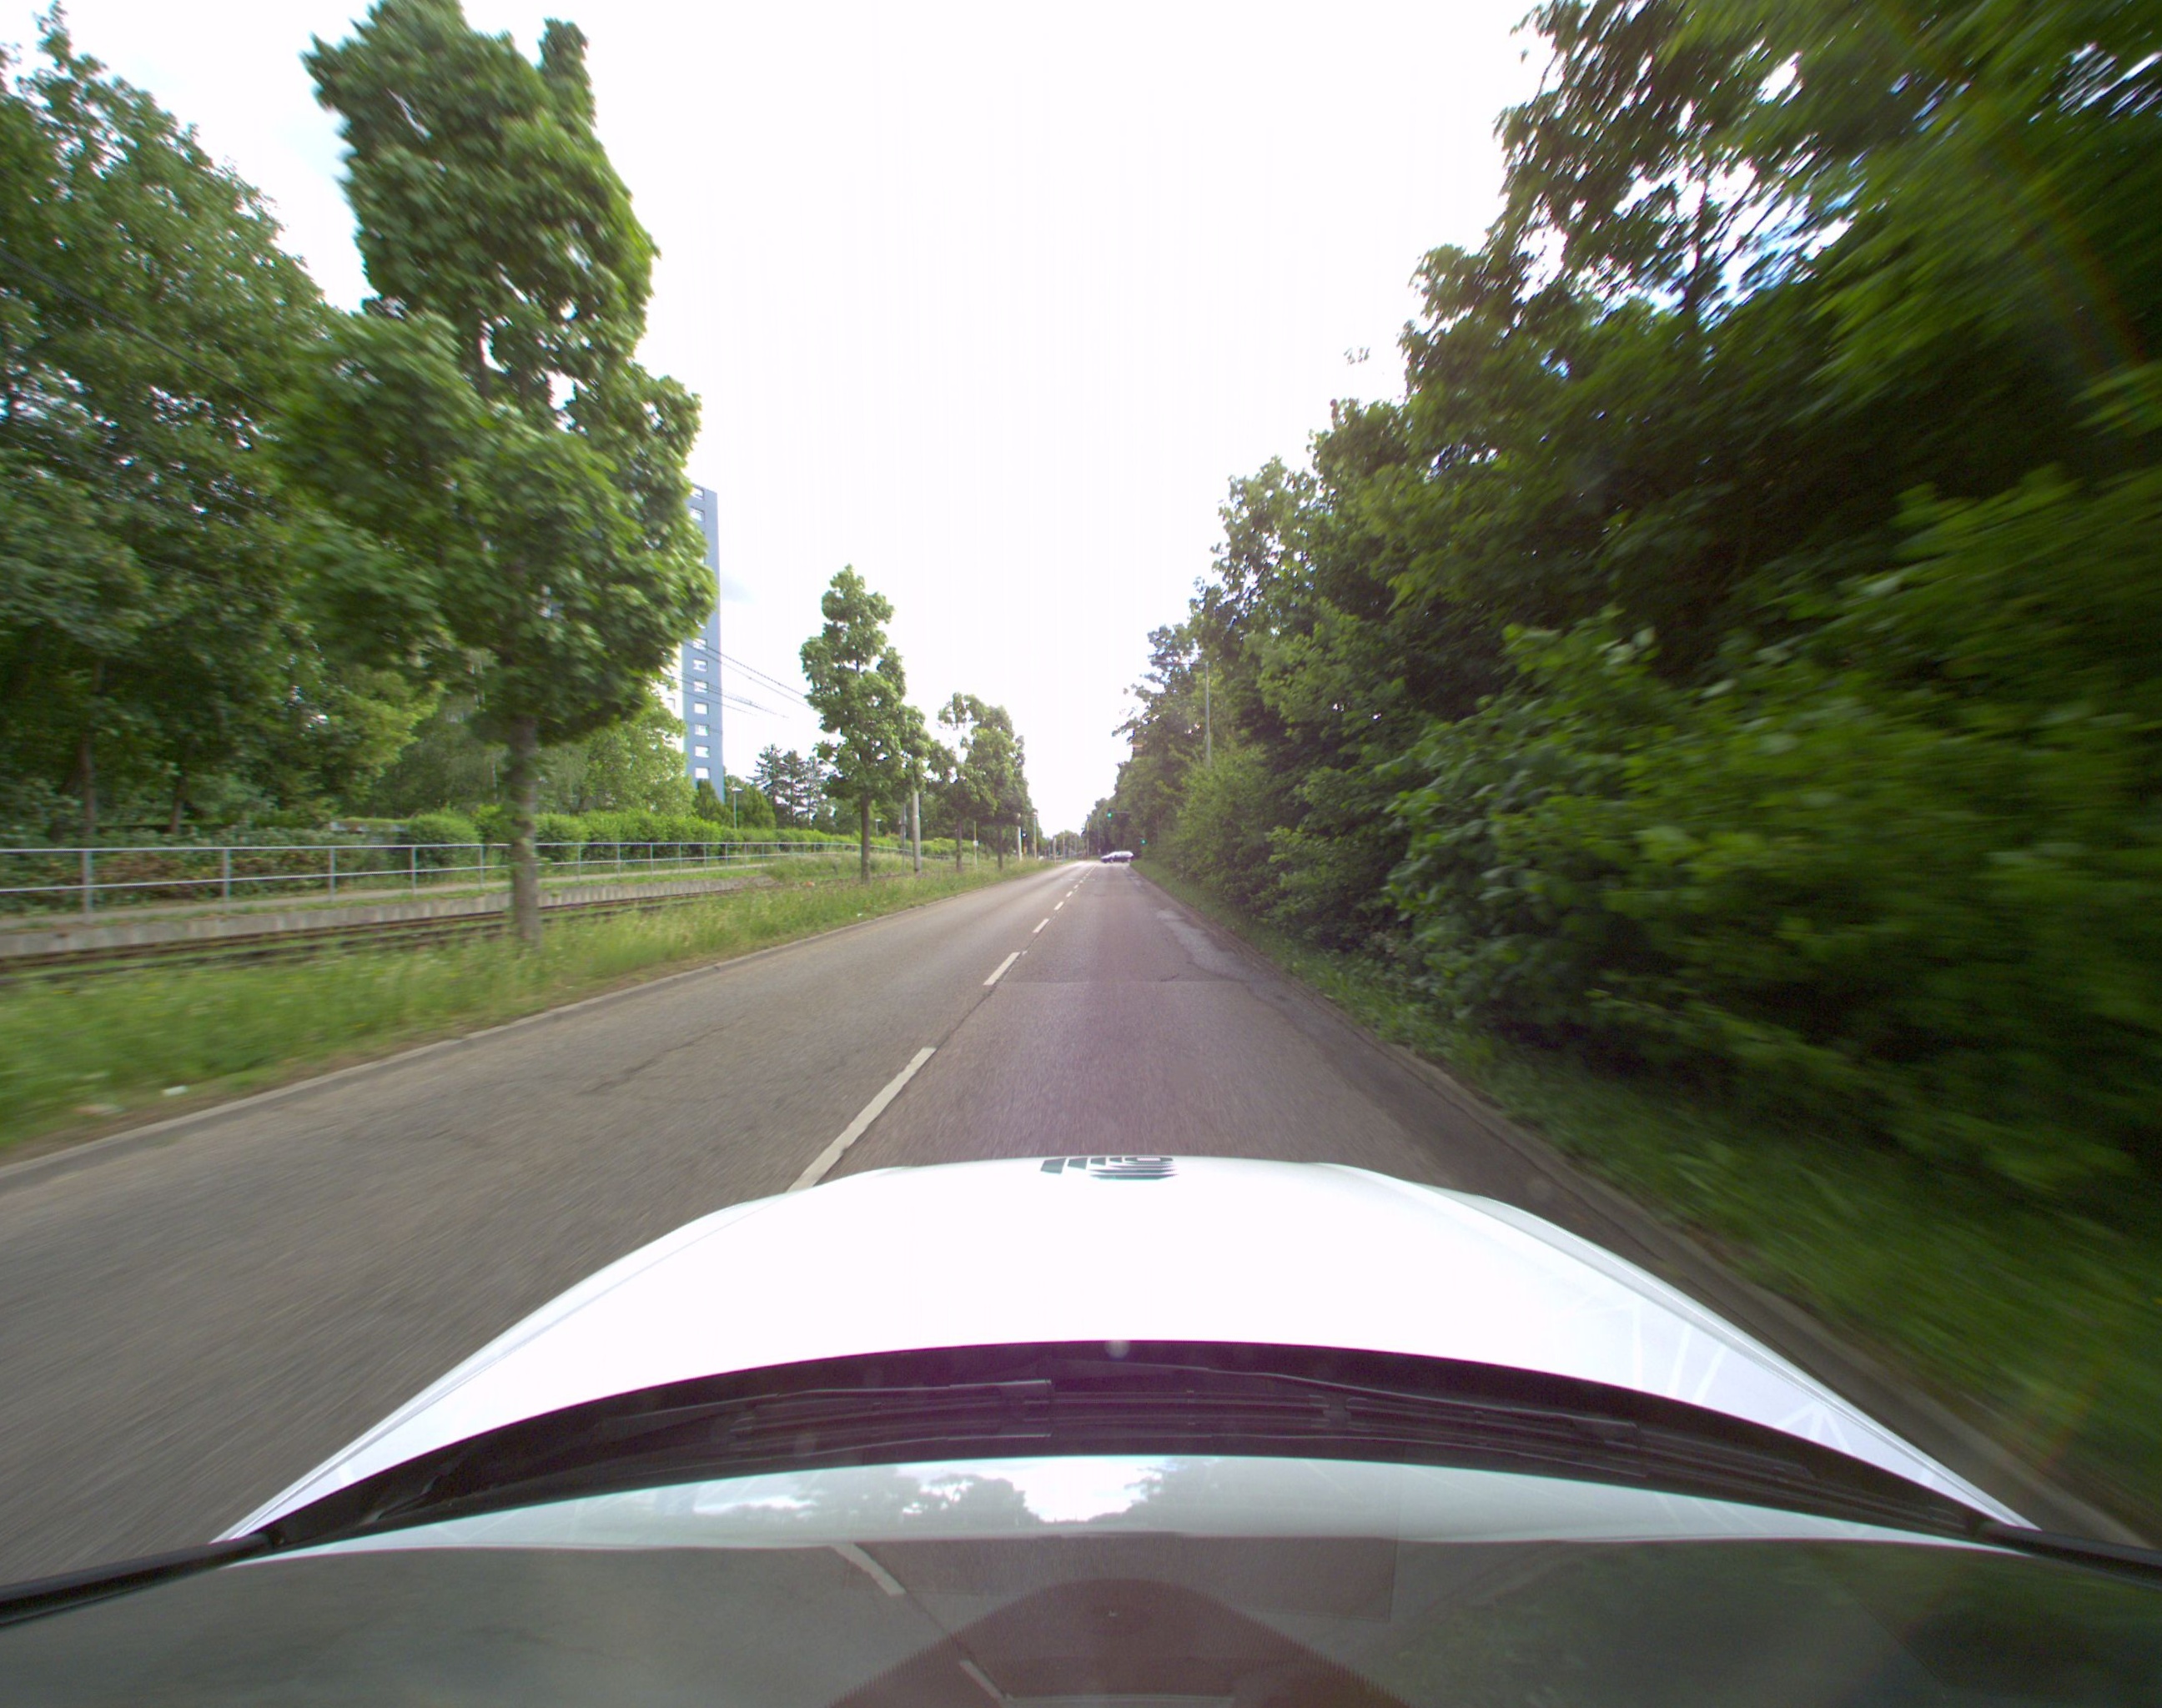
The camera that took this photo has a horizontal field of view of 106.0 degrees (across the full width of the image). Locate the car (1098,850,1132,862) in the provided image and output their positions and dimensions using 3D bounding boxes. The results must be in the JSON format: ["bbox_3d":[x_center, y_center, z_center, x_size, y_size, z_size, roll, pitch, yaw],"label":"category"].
[{"bbox_3d":[4.485,0.292,107.527,4.274,1.470,1.836,-1,0,-36],"label":"car"}]
